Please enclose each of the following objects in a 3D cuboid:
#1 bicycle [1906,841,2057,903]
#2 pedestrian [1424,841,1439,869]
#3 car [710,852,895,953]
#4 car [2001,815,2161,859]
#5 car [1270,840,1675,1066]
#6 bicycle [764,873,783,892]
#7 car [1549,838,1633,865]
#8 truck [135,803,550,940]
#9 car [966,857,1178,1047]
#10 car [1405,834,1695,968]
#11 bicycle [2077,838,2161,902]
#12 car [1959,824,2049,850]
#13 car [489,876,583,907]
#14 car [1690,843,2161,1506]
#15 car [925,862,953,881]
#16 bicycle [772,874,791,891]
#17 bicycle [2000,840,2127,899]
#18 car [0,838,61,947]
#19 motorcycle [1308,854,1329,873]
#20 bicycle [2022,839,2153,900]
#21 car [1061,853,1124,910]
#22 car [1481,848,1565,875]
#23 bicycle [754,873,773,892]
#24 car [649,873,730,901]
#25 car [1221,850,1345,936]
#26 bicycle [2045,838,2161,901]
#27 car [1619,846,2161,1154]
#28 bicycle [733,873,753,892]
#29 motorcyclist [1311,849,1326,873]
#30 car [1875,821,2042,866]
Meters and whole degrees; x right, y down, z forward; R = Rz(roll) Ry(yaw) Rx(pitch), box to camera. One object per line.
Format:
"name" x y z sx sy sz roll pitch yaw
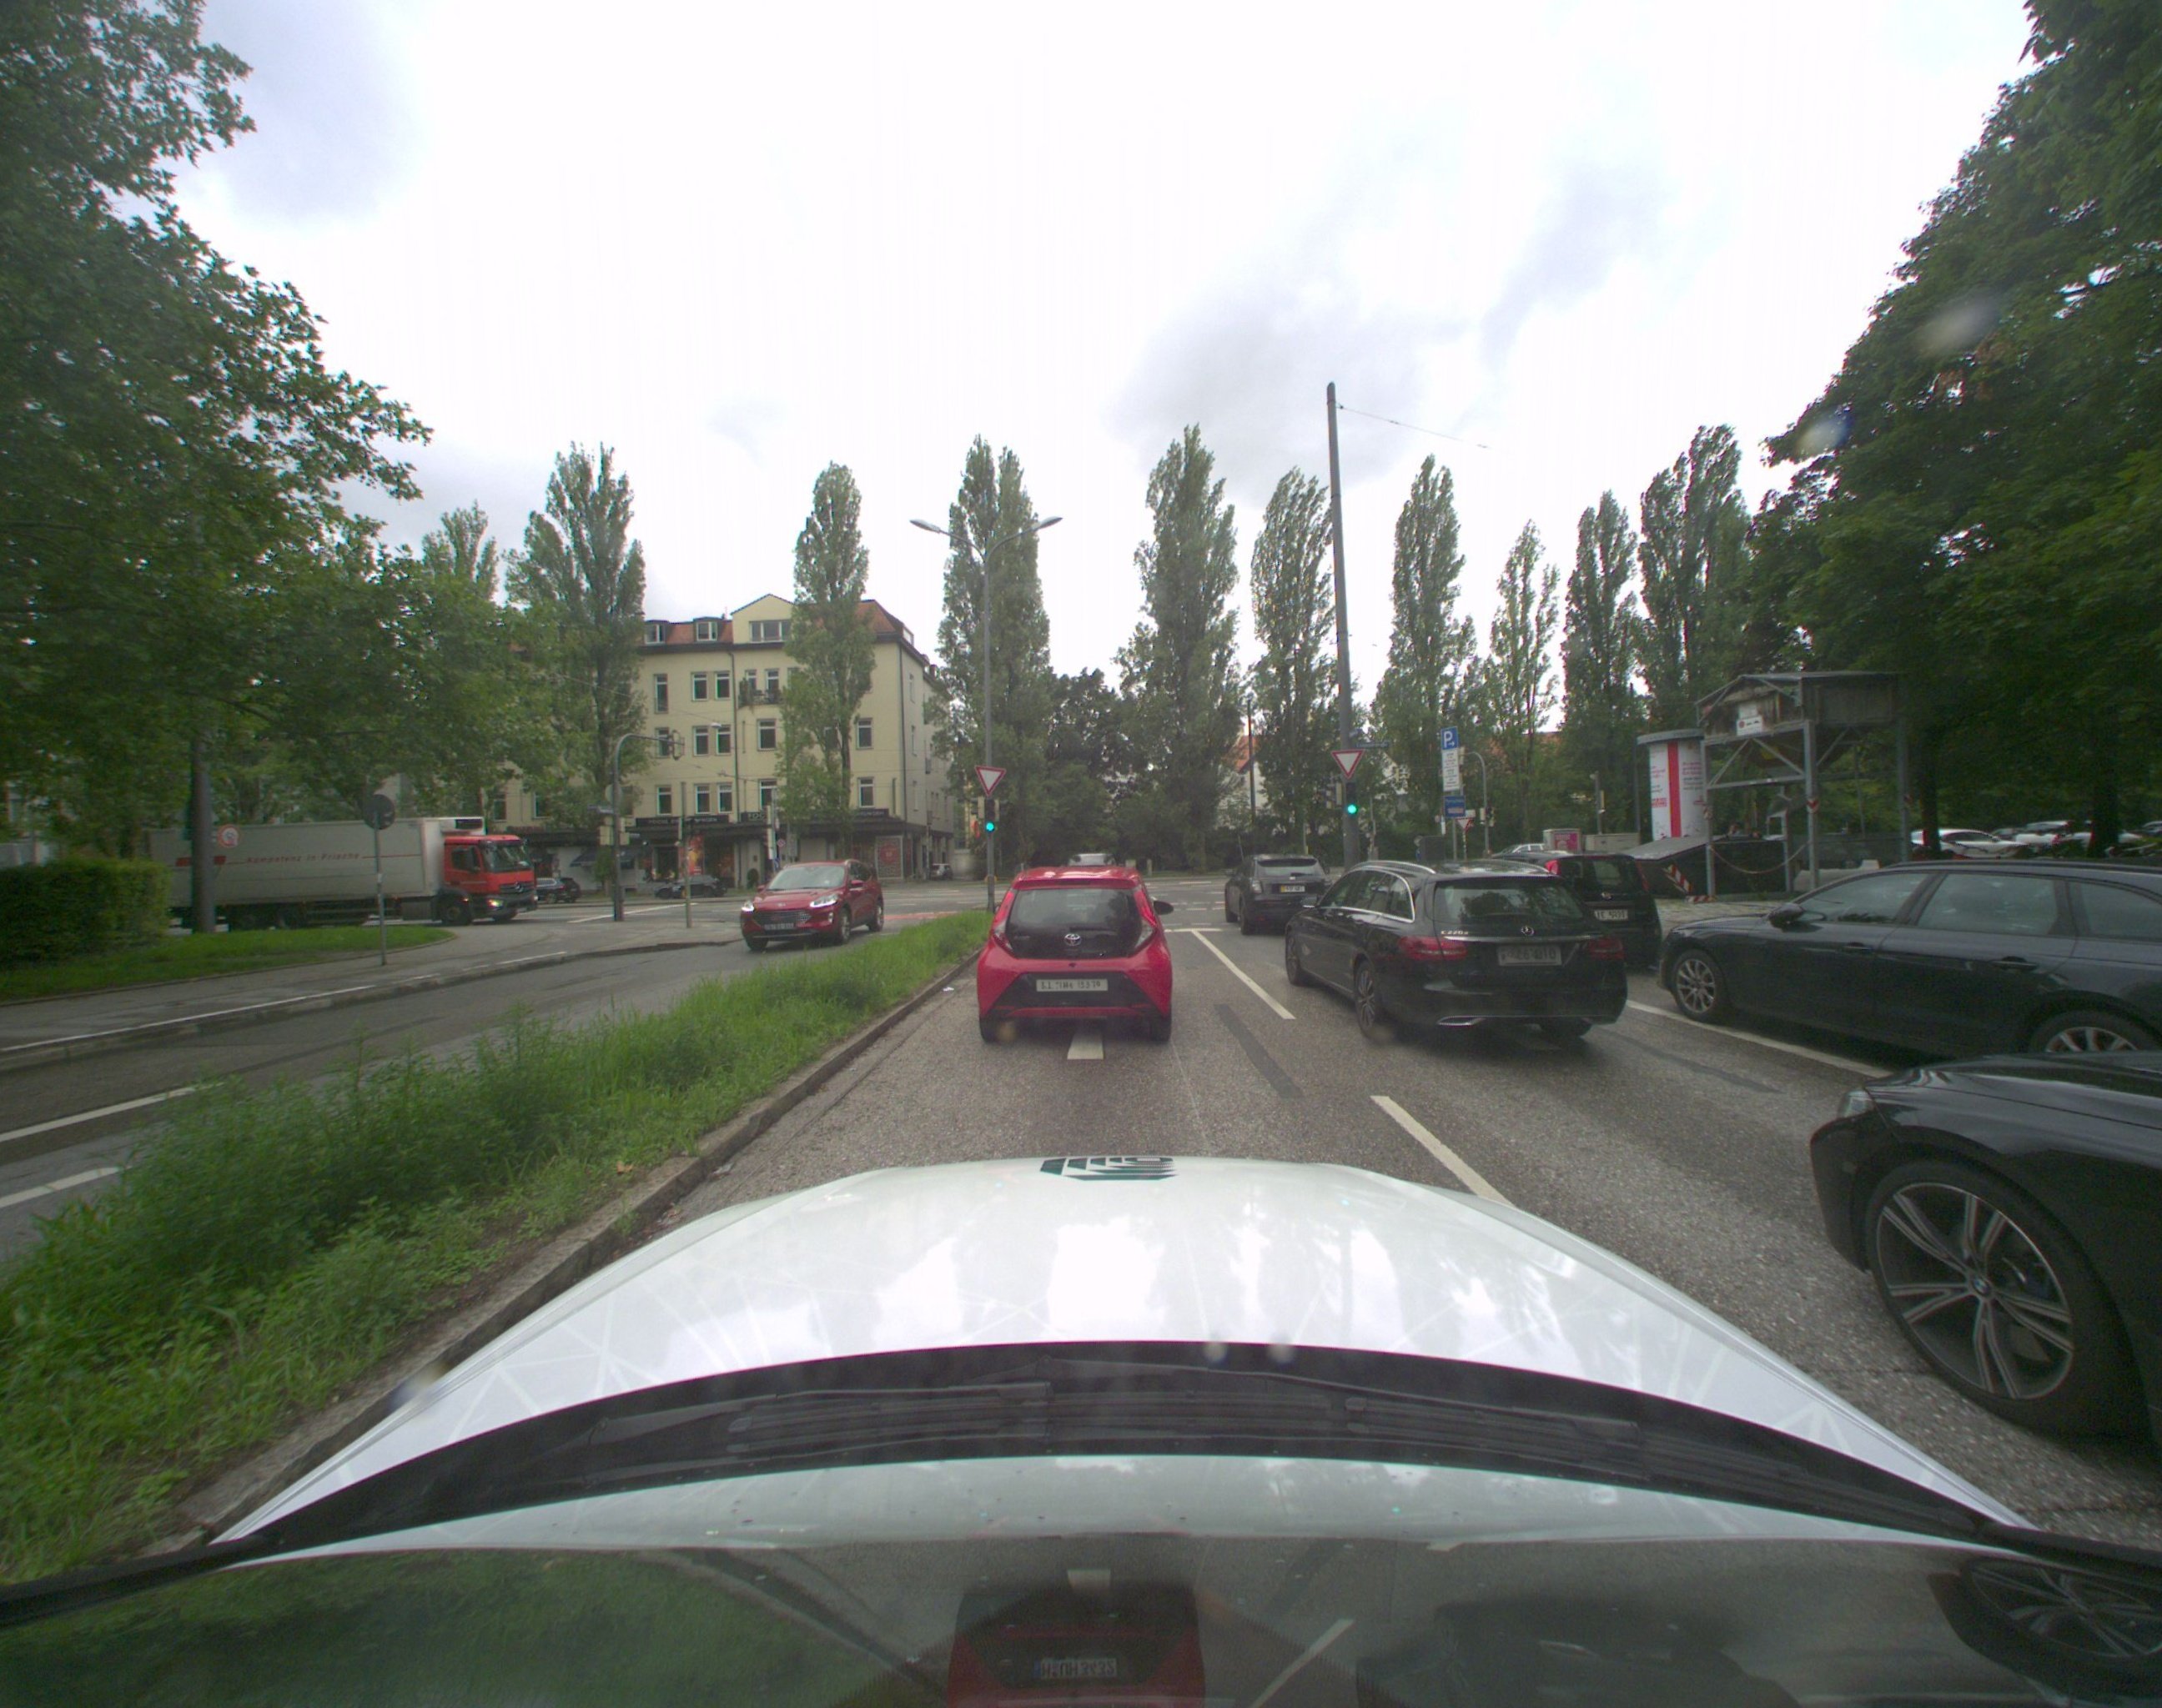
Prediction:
"bicycle" 15.494 0.297 14.020 2.232 1.016 0.628 0 -1 -10
"pedestrian" 20.758 0.065 48.215 0.693 1.662 0.555 -2 -2 42
"car" -5.505 0.848 16.930 2.097 1.637 4.938 -3 1 0
"car" 37.006 -0.624 30.046 4.351 1.407 1.729 -2 0 -4
"car" 3.249 0.693 7.986 1.856 1.549 4.706 0 0 2
"bicycle" -20.304 1.863 53.769 0.493 1.185 1.888 -2 0 -1
"car" 32.676 -0.148 52.245 4.231 1.486 1.786 -2 -1 0
"truck" -25.081 0.558 28.043 11.635 3.980 2.749 -2 1 1
"car" 0.020 0.778 8.088 1.622 1.440 3.379 -2 0 3
"car" 6.565 0.574 12.115 1.823 1.549 4.558 -2 0 3
"bicycle" 15.136 0.223 11.561 1.400 0.894 0.314 -1 -1 8
"car" 61.297 -1.131 54.110 4.116 1.486 1.784 -2 -1 -3
"car" -33.010 2.259 49.392 4.440 1.612 1.727 -2 0 1
"car" 3.134 0.682 0.703 1.717 1.389 4.801 -2 0 2
"car" -12.076 1.462 69.443 1.721 1.442 3.997 -2 0 -2
"bicycle" -19.779 1.866 53.812 0.493 1.082 1.888 -2 0 -1
"bicycle" 15.286 0.240 12.690 1.400 0.894 0.314 -1 -1 8
"car" -22.380 0.947 14.684 1.975 2.013 4.658 -1 5 43
"motorcycle" 14.936 0.610 51.211 0.627 1.169 2.027 0 -1 -3
"bicycle" 15.235 0.235 12.346 1.400 0.894 0.314 -1 -1 8
"car" 0.453 0.785 25.382 1.728 1.549 4.580 -2 0 3
"car" 27.898 0.479 51.483 4.324 1.486 1.786 -2 -1 0
"bicycle" -21.000 1.870 53.859 0.493 1.185 1.888 -2 0 -1
"car" -23.795 1.993 49.627 3.977 1.466 1.803 -2 -1 -3
"car" 3.979 0.722 16.703 1.773 1.486 4.004 -2 -1 4
"bicycle" 15.170 0.229 11.993 1.400 0.894 0.314 -1 -1 8
"car" 6.156 0.711 5.645 1.762 1.461 4.641 -2 0 0
"bicycle" -22.350 1.907 53.891 0.493 1.185 1.888 -2 0 -1
"motorcyclist" 14.937 0.446 51.257 0.617 1.443 0.880 0 -1 -3
"car" 31.765 -0.357 29.546 4.351 1.407 1.729 -2 0 -4
